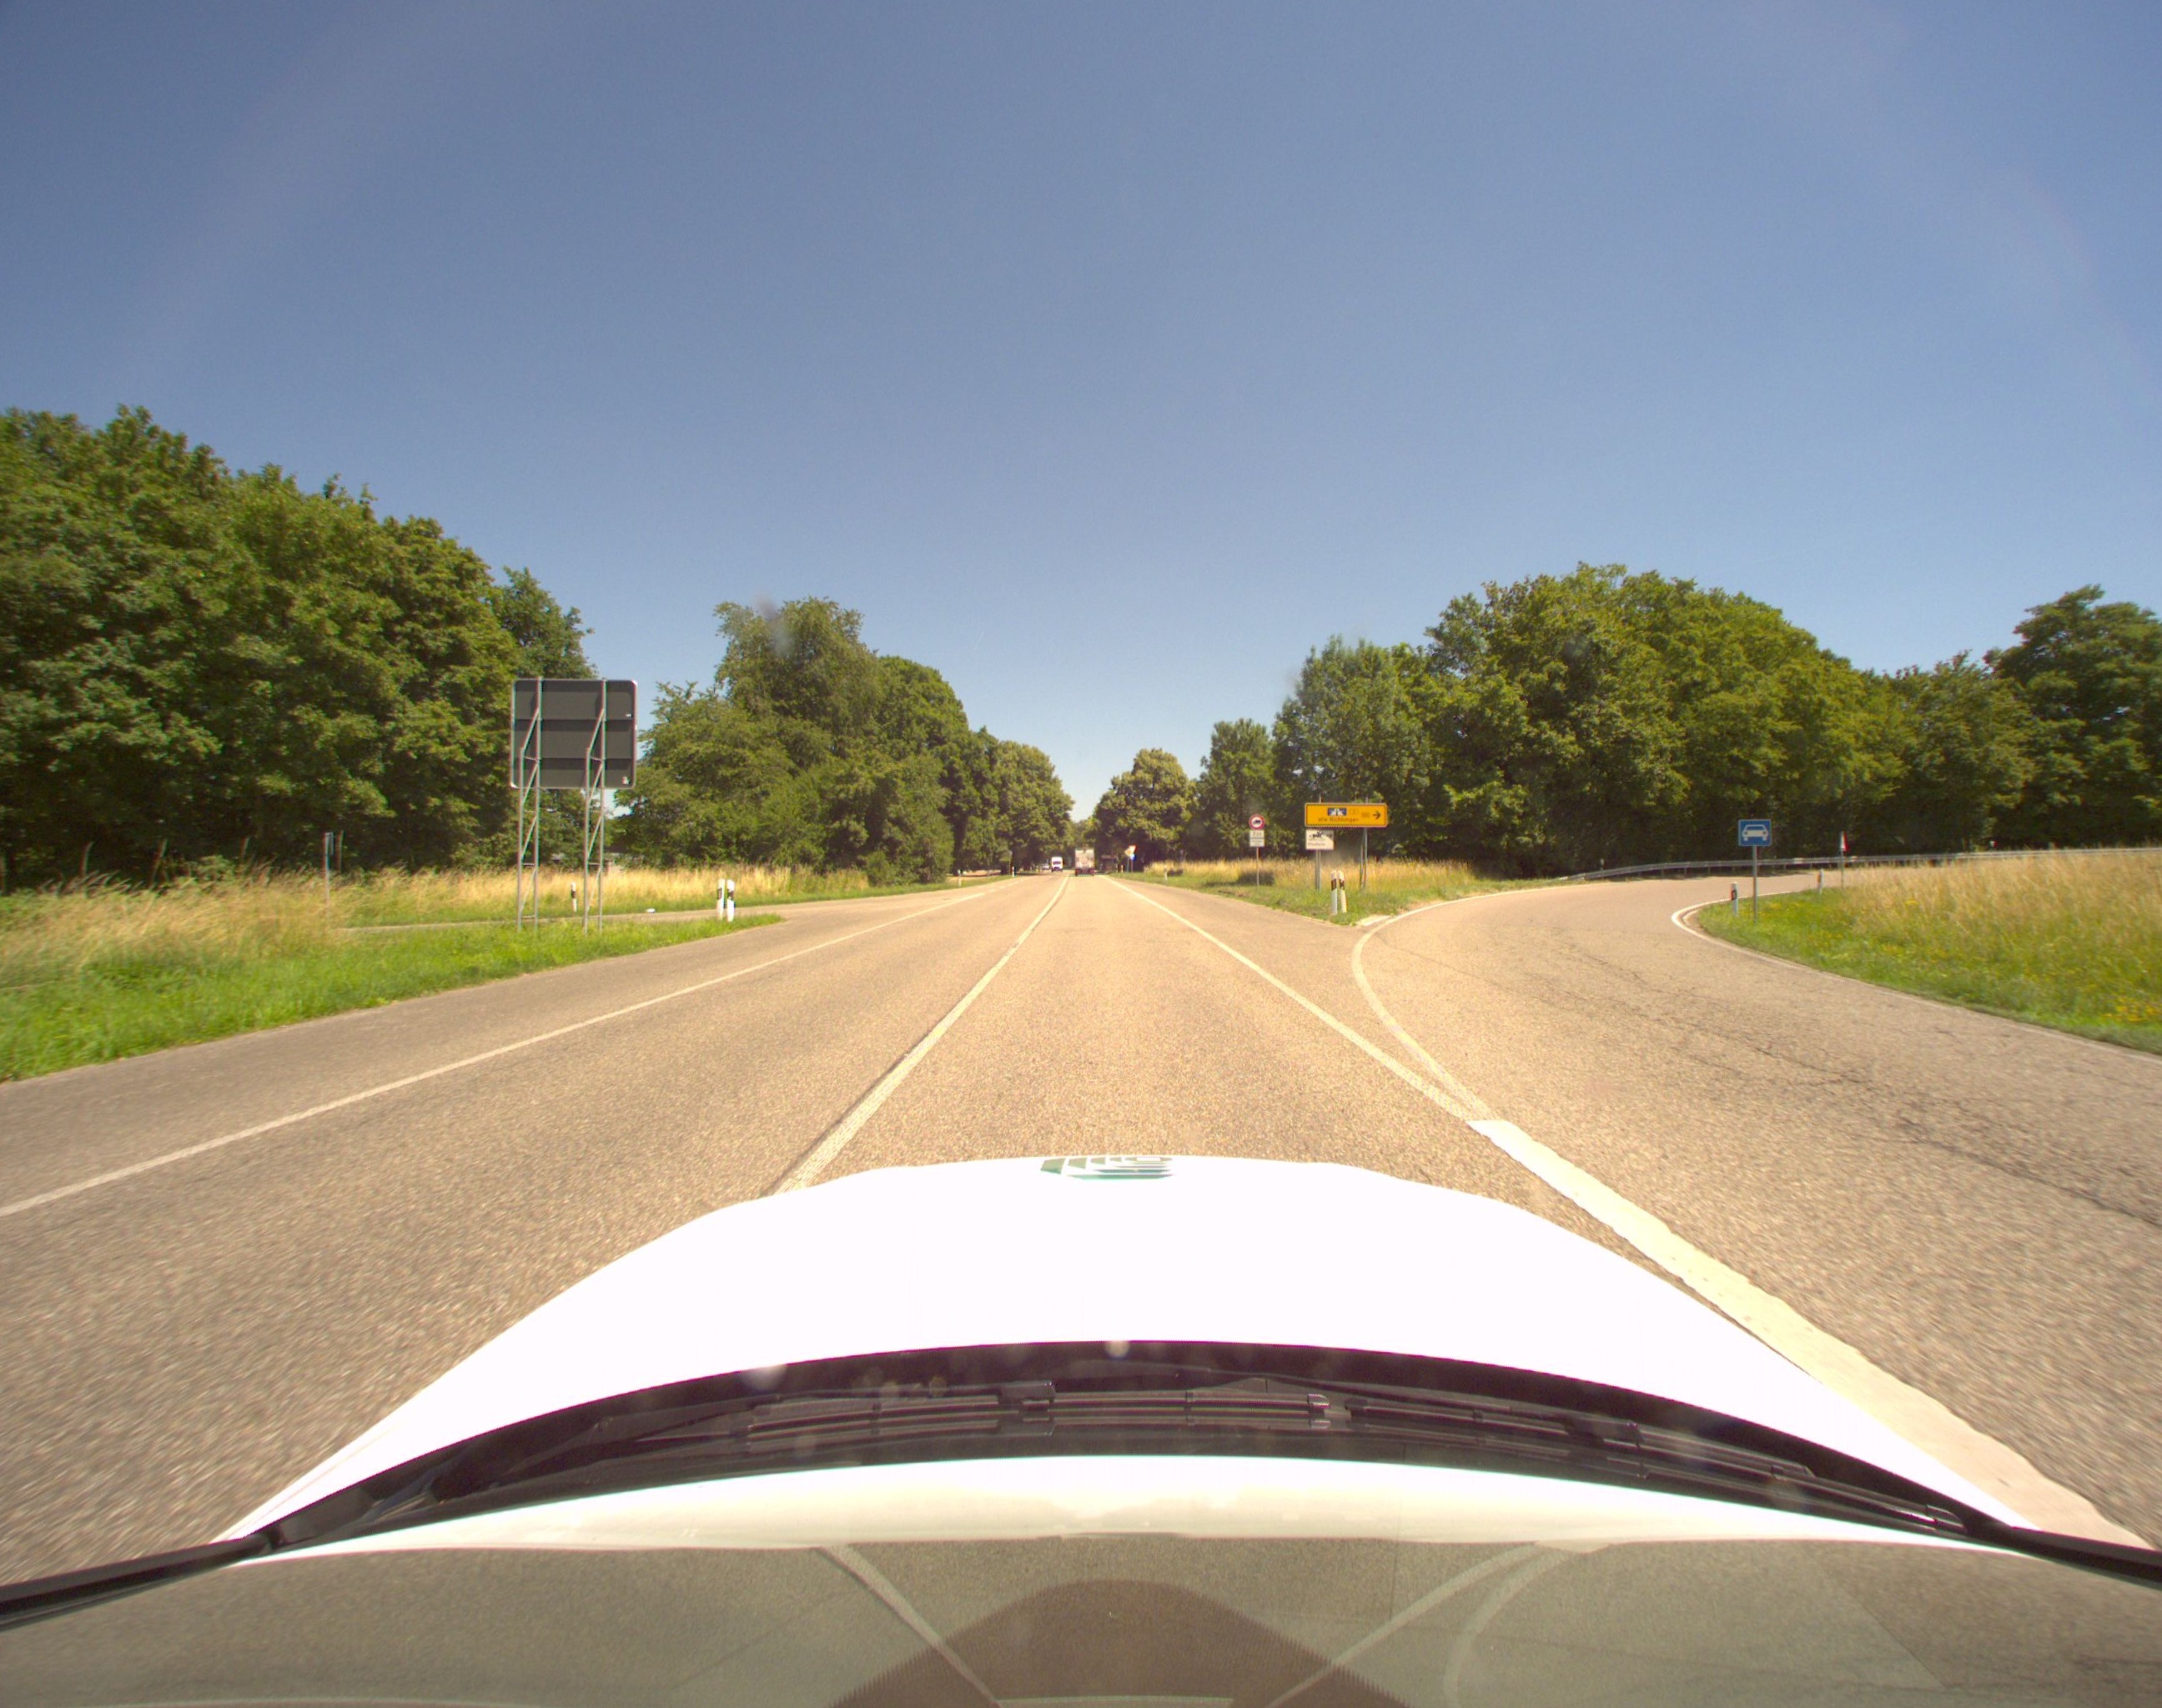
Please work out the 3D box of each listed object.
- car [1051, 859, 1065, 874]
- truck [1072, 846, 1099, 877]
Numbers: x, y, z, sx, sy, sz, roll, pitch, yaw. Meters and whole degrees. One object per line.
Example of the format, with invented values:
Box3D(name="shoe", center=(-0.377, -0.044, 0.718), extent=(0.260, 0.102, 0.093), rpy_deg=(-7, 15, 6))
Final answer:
Box3D(name="car", center=(-4.158, 2.291, 149.108), extent=(2.066, 2.628, 6.784), rpy_deg=(-1, -1, 1))
Box3D(name="truck", center=(0.515, 0.799, 88.098), extent=(2.523, 3.135, 5.366), rpy_deg=(-1, 0, 4))
